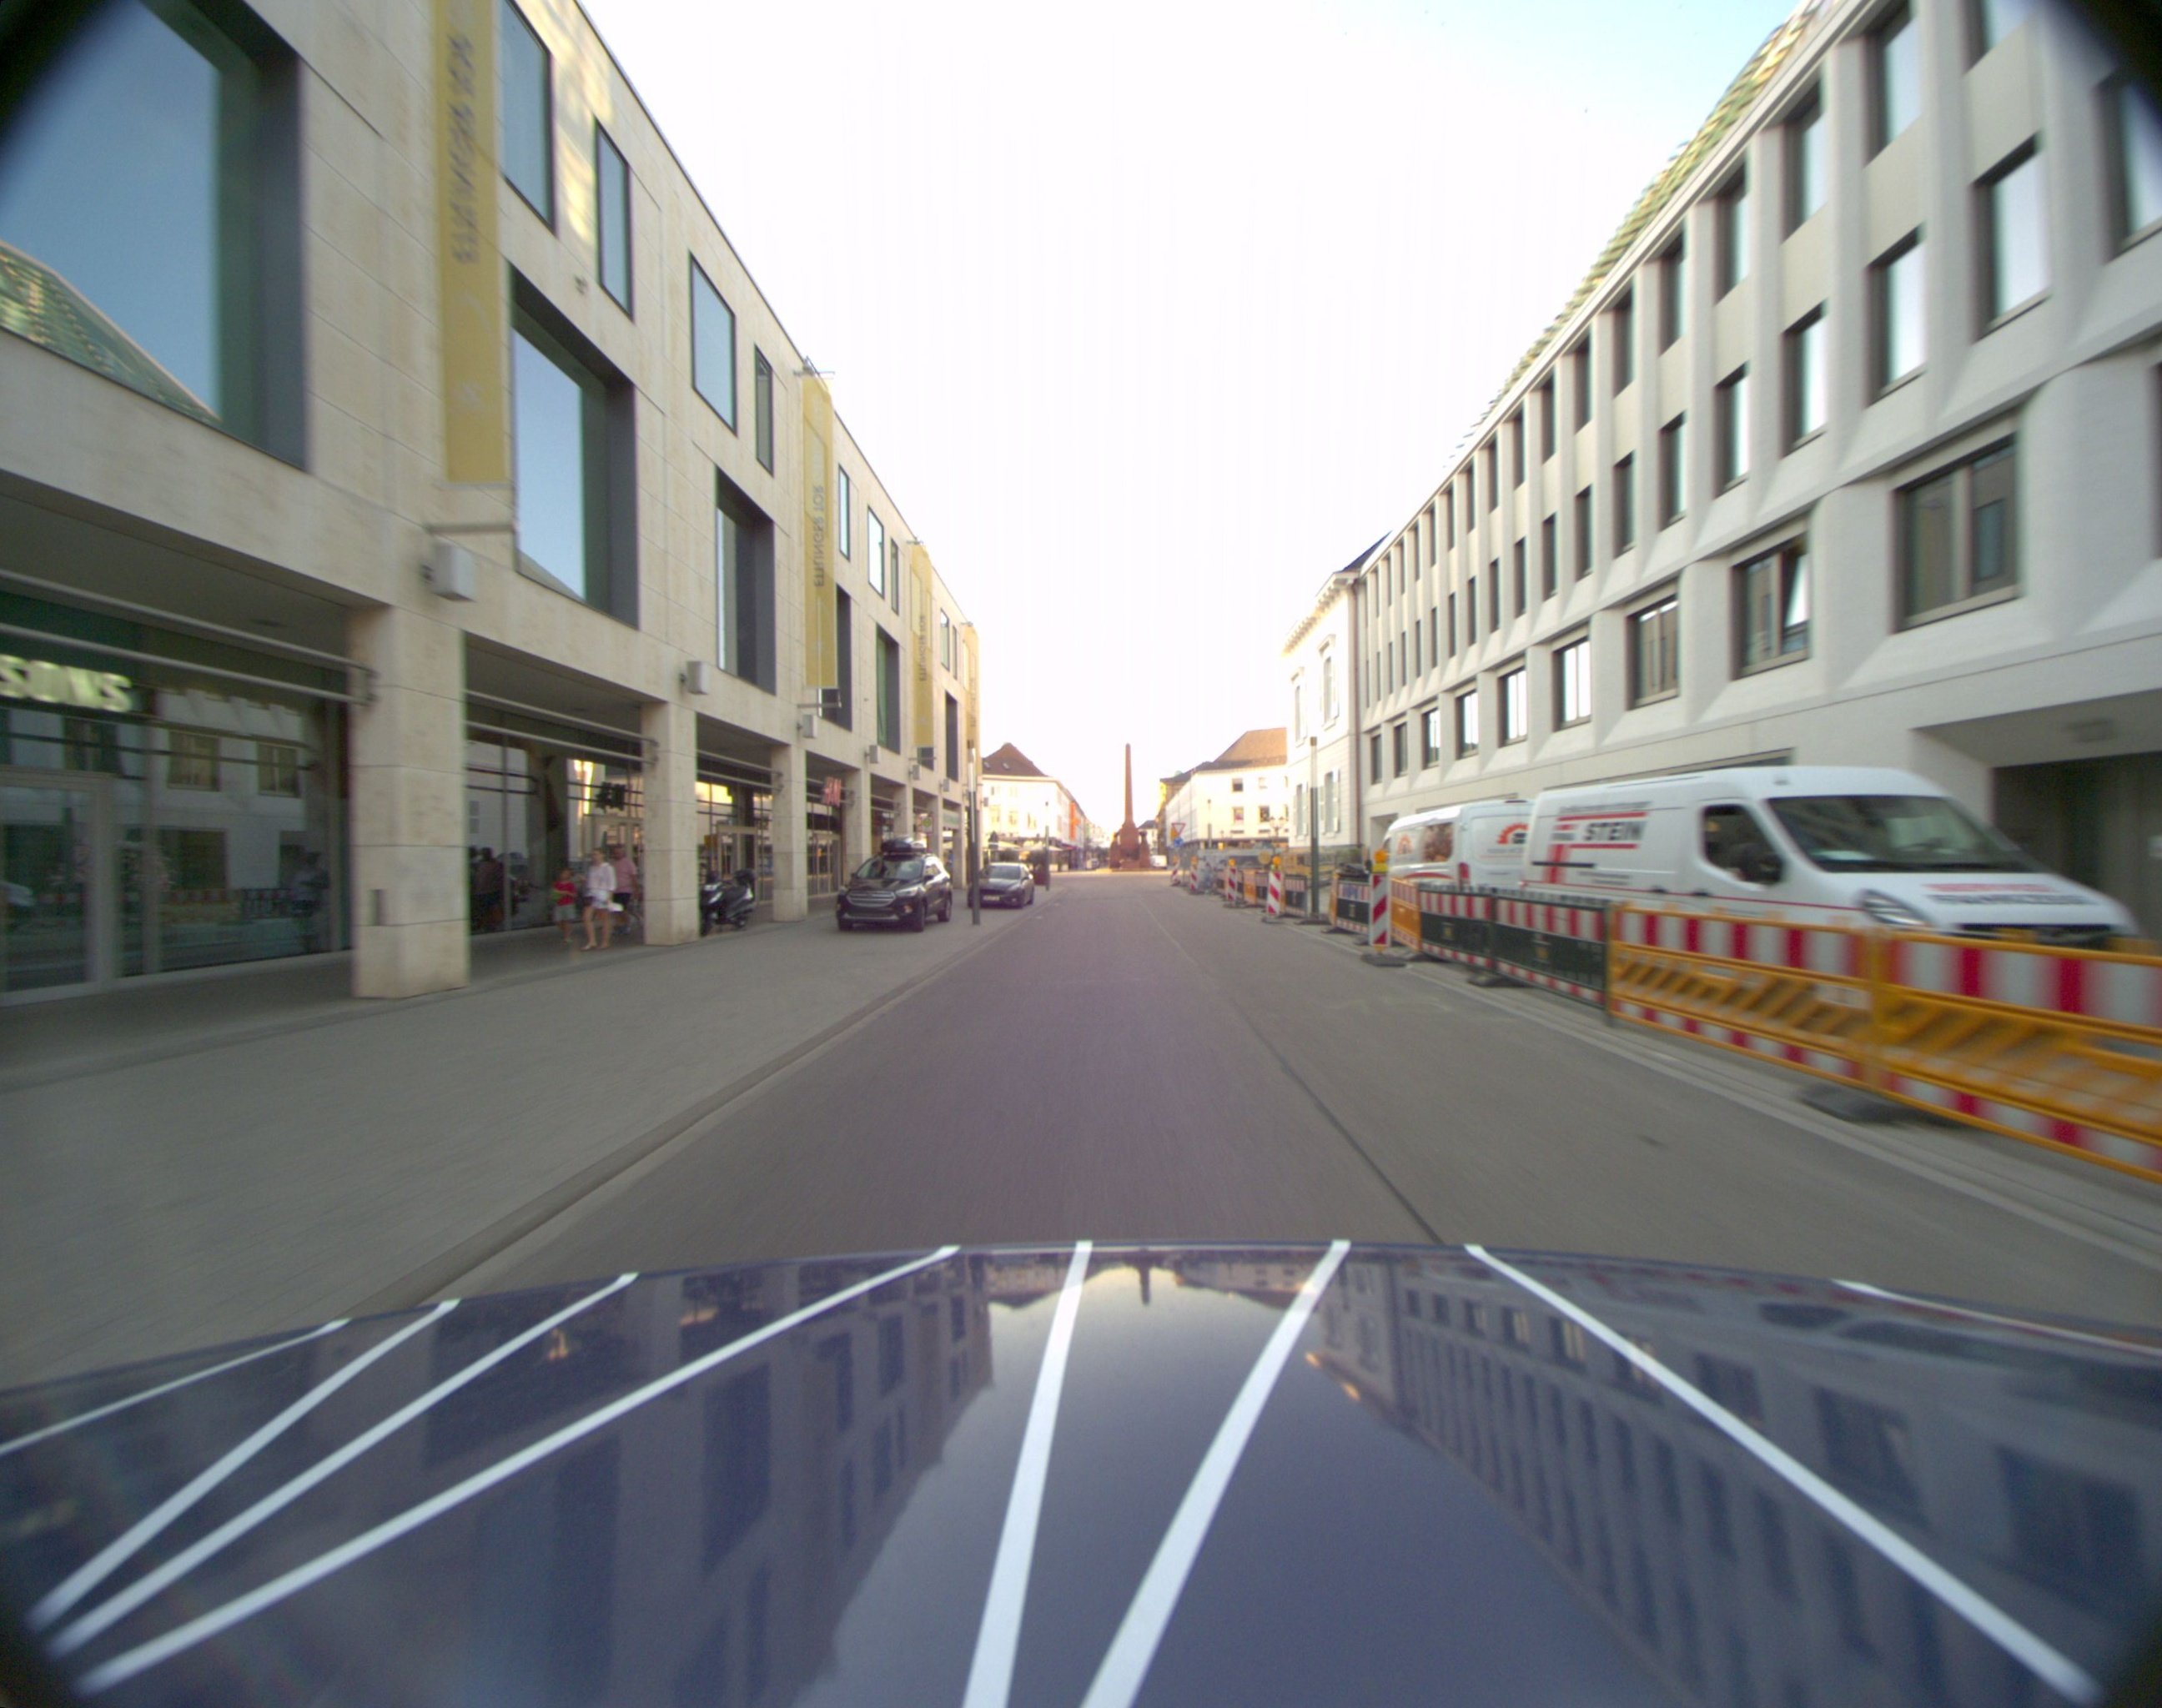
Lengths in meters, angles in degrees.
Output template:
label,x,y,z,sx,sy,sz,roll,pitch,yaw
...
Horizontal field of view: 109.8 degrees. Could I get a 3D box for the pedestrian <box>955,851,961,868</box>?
label,x,y,z,sx,sy,sz,roll,pitch,yaw
pedestrian,-13.543,0.580,83.856,0.508,1.807,0.719,-1,1,4

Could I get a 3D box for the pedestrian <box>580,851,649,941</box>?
label,x,y,z,sx,sy,sz,roll,pitch,yaw
pedestrian,-8.968,0.805,14.646,0.766,1.671,0.877,-1,-1,2

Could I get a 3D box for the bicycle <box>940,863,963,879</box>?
label,x,y,z,sx,sy,sz,roll,pitch,yaw
bicycle,-9.348,1.260,54.996,0.606,1.121,1.910,-1,-2,27

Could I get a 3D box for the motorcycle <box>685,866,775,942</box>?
label,x,y,z,sx,sy,sz,roll,pitch,yaw
motorcycle,-7.154,0.984,15.627,0.694,1.408,2.136,-1,0,5

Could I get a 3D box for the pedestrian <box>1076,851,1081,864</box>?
label,x,y,z,sx,sy,sz,roll,pitch,yaw
pedestrian,-0.323,0.504,99.442,0.603,1.691,0.713,-1,1,-3

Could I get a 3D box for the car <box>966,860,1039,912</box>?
label,x,y,z,sx,sy,sz,roll,pitch,yaw
car,-2.581,1.012,25.821,1.799,1.481,4.193,2,0,3

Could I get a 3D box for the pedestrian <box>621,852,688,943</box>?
label,x,y,z,sx,sy,sz,roll,pitch,yaw
pedestrian,-8.163,0.816,14.560,0.766,1.671,0.877,-1,-1,2

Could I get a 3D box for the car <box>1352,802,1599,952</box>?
label,x,y,z,sx,sy,sz,roll,pitch,yaw
car,7.614,0.375,15.610,2.178,2.456,6.000,-1,0,3

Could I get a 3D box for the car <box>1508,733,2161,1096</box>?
label,x,y,z,sx,sy,sz,roll,pitch,yaw
car,7.277,0.403,8.163,2.178,2.456,6.000,-1,0,2

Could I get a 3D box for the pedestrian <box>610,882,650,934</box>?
label,x,y,z,sx,sy,sz,roll,pitch,yaw
pedestrian,-9.721,1.147,16.394,0.488,1.090,0.602,-1,-1,2

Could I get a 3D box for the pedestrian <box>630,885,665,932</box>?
label,x,y,z,sx,sy,sz,roll,pitch,yaw
pedestrian,-9.201,1.148,16.132,0.421,0.980,0.526,-1,-1,2

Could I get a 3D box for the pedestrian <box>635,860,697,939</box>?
label,x,y,z,sx,sy,sz,roll,pitch,yaw
pedestrian,-8.446,0.910,15.482,0.766,1.558,0.877,-1,-1,2

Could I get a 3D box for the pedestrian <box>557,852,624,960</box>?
label,x,y,z,sx,sy,sz,roll,pitch,yaw
pedestrian,-7.902,0.818,12.265,0.592,1.688,0.696,-1,0,0

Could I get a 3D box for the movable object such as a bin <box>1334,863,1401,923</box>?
label,x,y,z,sx,sy,sz,roll,pitch,yaw
movable object such as a bin,7.414,0.976,19.744,1.047,1.458,1.392,-1,1,-9

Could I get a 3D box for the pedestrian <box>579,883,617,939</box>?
label,x,y,z,sx,sy,sz,roll,pitch,yaw
pedestrian,-9.730,1.142,15.303,0.421,1.090,0.526,-1,-1,2

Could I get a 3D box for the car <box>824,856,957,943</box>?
label,x,y,z,sx,sy,sz,roll,pitch,yaw
car,-4.156,0.921,17.262,1.772,1.628,4.058,2,1,3

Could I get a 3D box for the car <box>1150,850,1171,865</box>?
label,x,y,z,sx,sy,sz,roll,pitch,yaw
car,10.292,0.458,98.893,2.021,1.815,4.458,-1,0,-4

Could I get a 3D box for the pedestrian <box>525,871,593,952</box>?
label,x,y,z,sx,sy,sz,roll,pitch,yaw
pedestrian,-9.009,0.977,13.140,0.635,1.337,0.775,-1,-1,2
